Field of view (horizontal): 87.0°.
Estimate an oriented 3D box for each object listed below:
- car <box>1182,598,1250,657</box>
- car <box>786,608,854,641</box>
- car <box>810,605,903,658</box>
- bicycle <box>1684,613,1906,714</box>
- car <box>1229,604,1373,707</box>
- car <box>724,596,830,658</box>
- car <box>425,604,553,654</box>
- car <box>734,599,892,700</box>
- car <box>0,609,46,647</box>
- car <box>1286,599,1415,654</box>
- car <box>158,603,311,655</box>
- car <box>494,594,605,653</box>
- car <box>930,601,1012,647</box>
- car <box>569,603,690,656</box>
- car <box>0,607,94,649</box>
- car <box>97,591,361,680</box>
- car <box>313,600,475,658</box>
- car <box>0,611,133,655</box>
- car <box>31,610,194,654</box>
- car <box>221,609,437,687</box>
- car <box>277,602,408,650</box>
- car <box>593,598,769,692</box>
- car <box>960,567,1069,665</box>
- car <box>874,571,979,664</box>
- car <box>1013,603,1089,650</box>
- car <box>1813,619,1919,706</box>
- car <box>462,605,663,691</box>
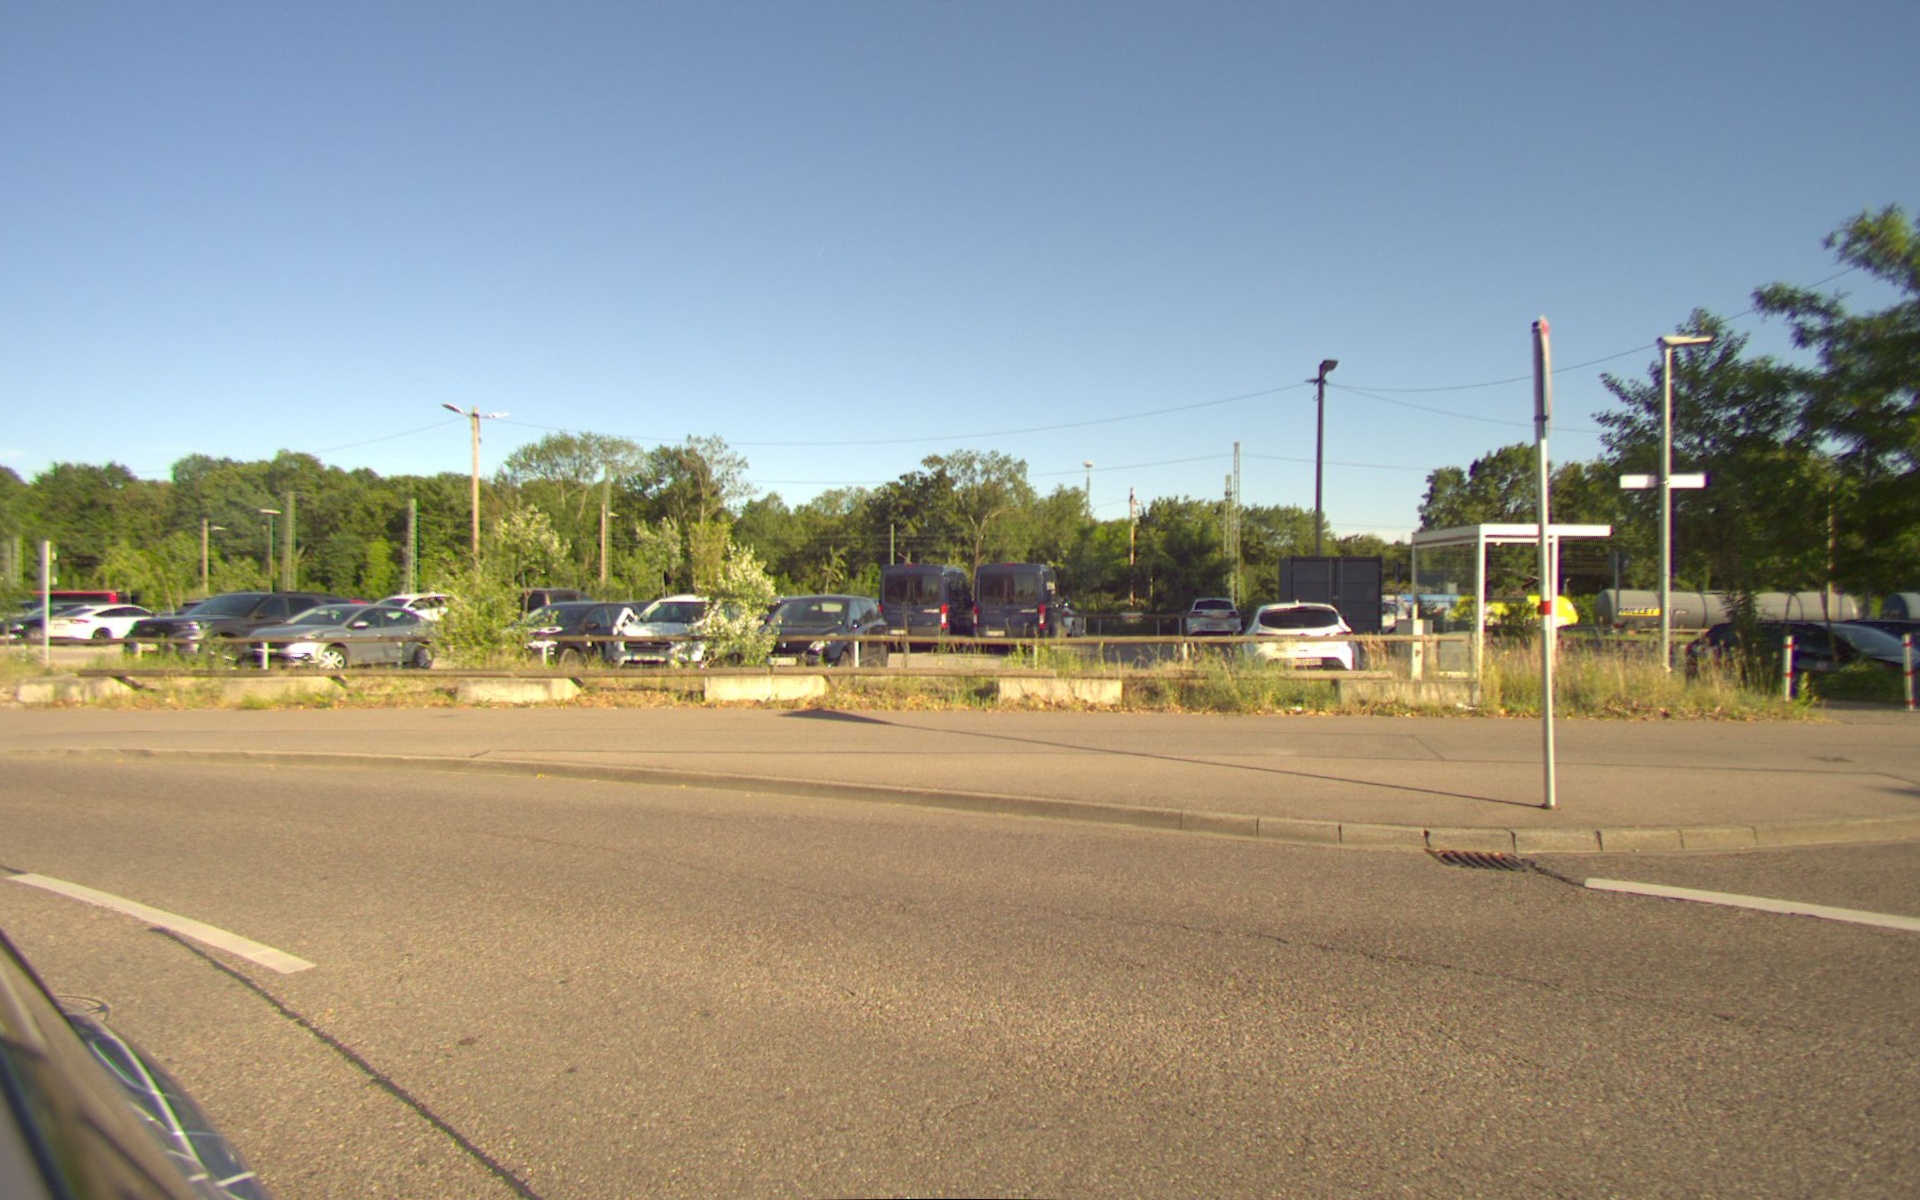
[{"bbox_3d":[8.405,0.846,33.530,1.966,1.822,4.187,-1,0,12],"label":"car"},{"bbox_3d":[-6.629,1.138,48.441,1.859,1.442,3.915,-1,0,15],"label":"car"},{"bbox_3d":[-3.149,0.941,31.537,1.816,1.519,3.736,-1,0,13],"label":"car"},{"bbox_3d":[14.912,1.070,18.181,0.892,1.628,2.960,-1,0,-41],"label":"bicycle"},{"bbox_3d":[5.758,0.855,17.586,1.872,1.522,4.257,-1,0,12],"label":"car"},{"bbox_3d":[-5.529,0.777,31.084,1.809,1.592,3.985,-1,3,13],"label":"car"},{"bbox_3d":[-15.665,0.929,33.877,1.872,1.498,3.927,0,1,13],"label":"car"},{"bbox_3d":[-2.621,0.835,19.077,1.851,1.667,4.134,-1,0,8],"label":"car"},{"bbox_3d":[-38.608,1.124,39.264,1.850,1.440,4.432,-1,1,11],"label":"car"},{"bbox_3d":[13.054,0.840,34.209,2.143,1.743,4.500,0,0,-8],"label":"car"},{"bbox_3d":[-25.451,0.973,35.704,1.966,1.601,4.188,-1,1,11],"label":"car"},{"bbox_3d":[-13.333,0.713,33.105,1.750,1.746,3.772,-1,1,6],"label":"car"},{"bbox_3d":[0.460,0.797,35.469,1.968,1.510,4.183,-1,0,14],"label":"car"},{"bbox_3d":[-10.567,0.905,32.658,1.980,1.606,3.984,-1,-1,13],"label":"car"},{"bbox_3d":[-36.050,1.069,38.581,1.850,1.477,4.432,-1,1,11],"label":"car"},{"bbox_3d":[-15.888,0.799,22.347,2.047,1.757,4.521,-1,-3,12],"label":"car"},{"bbox_3d":[-18.797,0.909,33.890,2.021,1.707,4.679,-1,1,15],"label":"car"},{"bbox_3d":[-33.607,1.184,37.527,1.850,1.454,4.431,-1,0,11],"label":"car"},{"bbox_3d":[-30.922,1.127,37.123,1.850,1.388,4.432,-1,1,11],"label":"car"},{"bbox_3d":[-13.214,0.943,21.490,1.818,1.464,3.915,-1,0,8],"label":"car"},{"bbox_3d":[-21.464,0.850,35.354,1.708,1.516,3.986,0,1,11],"label":"car"},{"bbox_3d":[-5.260,0.800,19.668,1.865,1.623,4.047,0,-1,8],"label":"car"},{"bbox_3d":[1.688,0.437,28.990,2.376,2.536,5.493,-1,0,11],"label":"car"},{"bbox_3d":[-0.862,0.484,29.384,2.106,2.486,4.466,-1,0,11],"label":"car"},{"bbox_3d":[3.196,0.860,34.702,1.968,1.510,4.183,-1,0,14],"label":"car"},{"bbox_3d":[18.118,1.135,18.147,1.933,1.492,4.008,0,0,-9],"label":"car"},{"bbox_3d":[-7.804,0.885,20.322,1.838,1.527,3.983,-1,-1,13],"label":"car"}]
